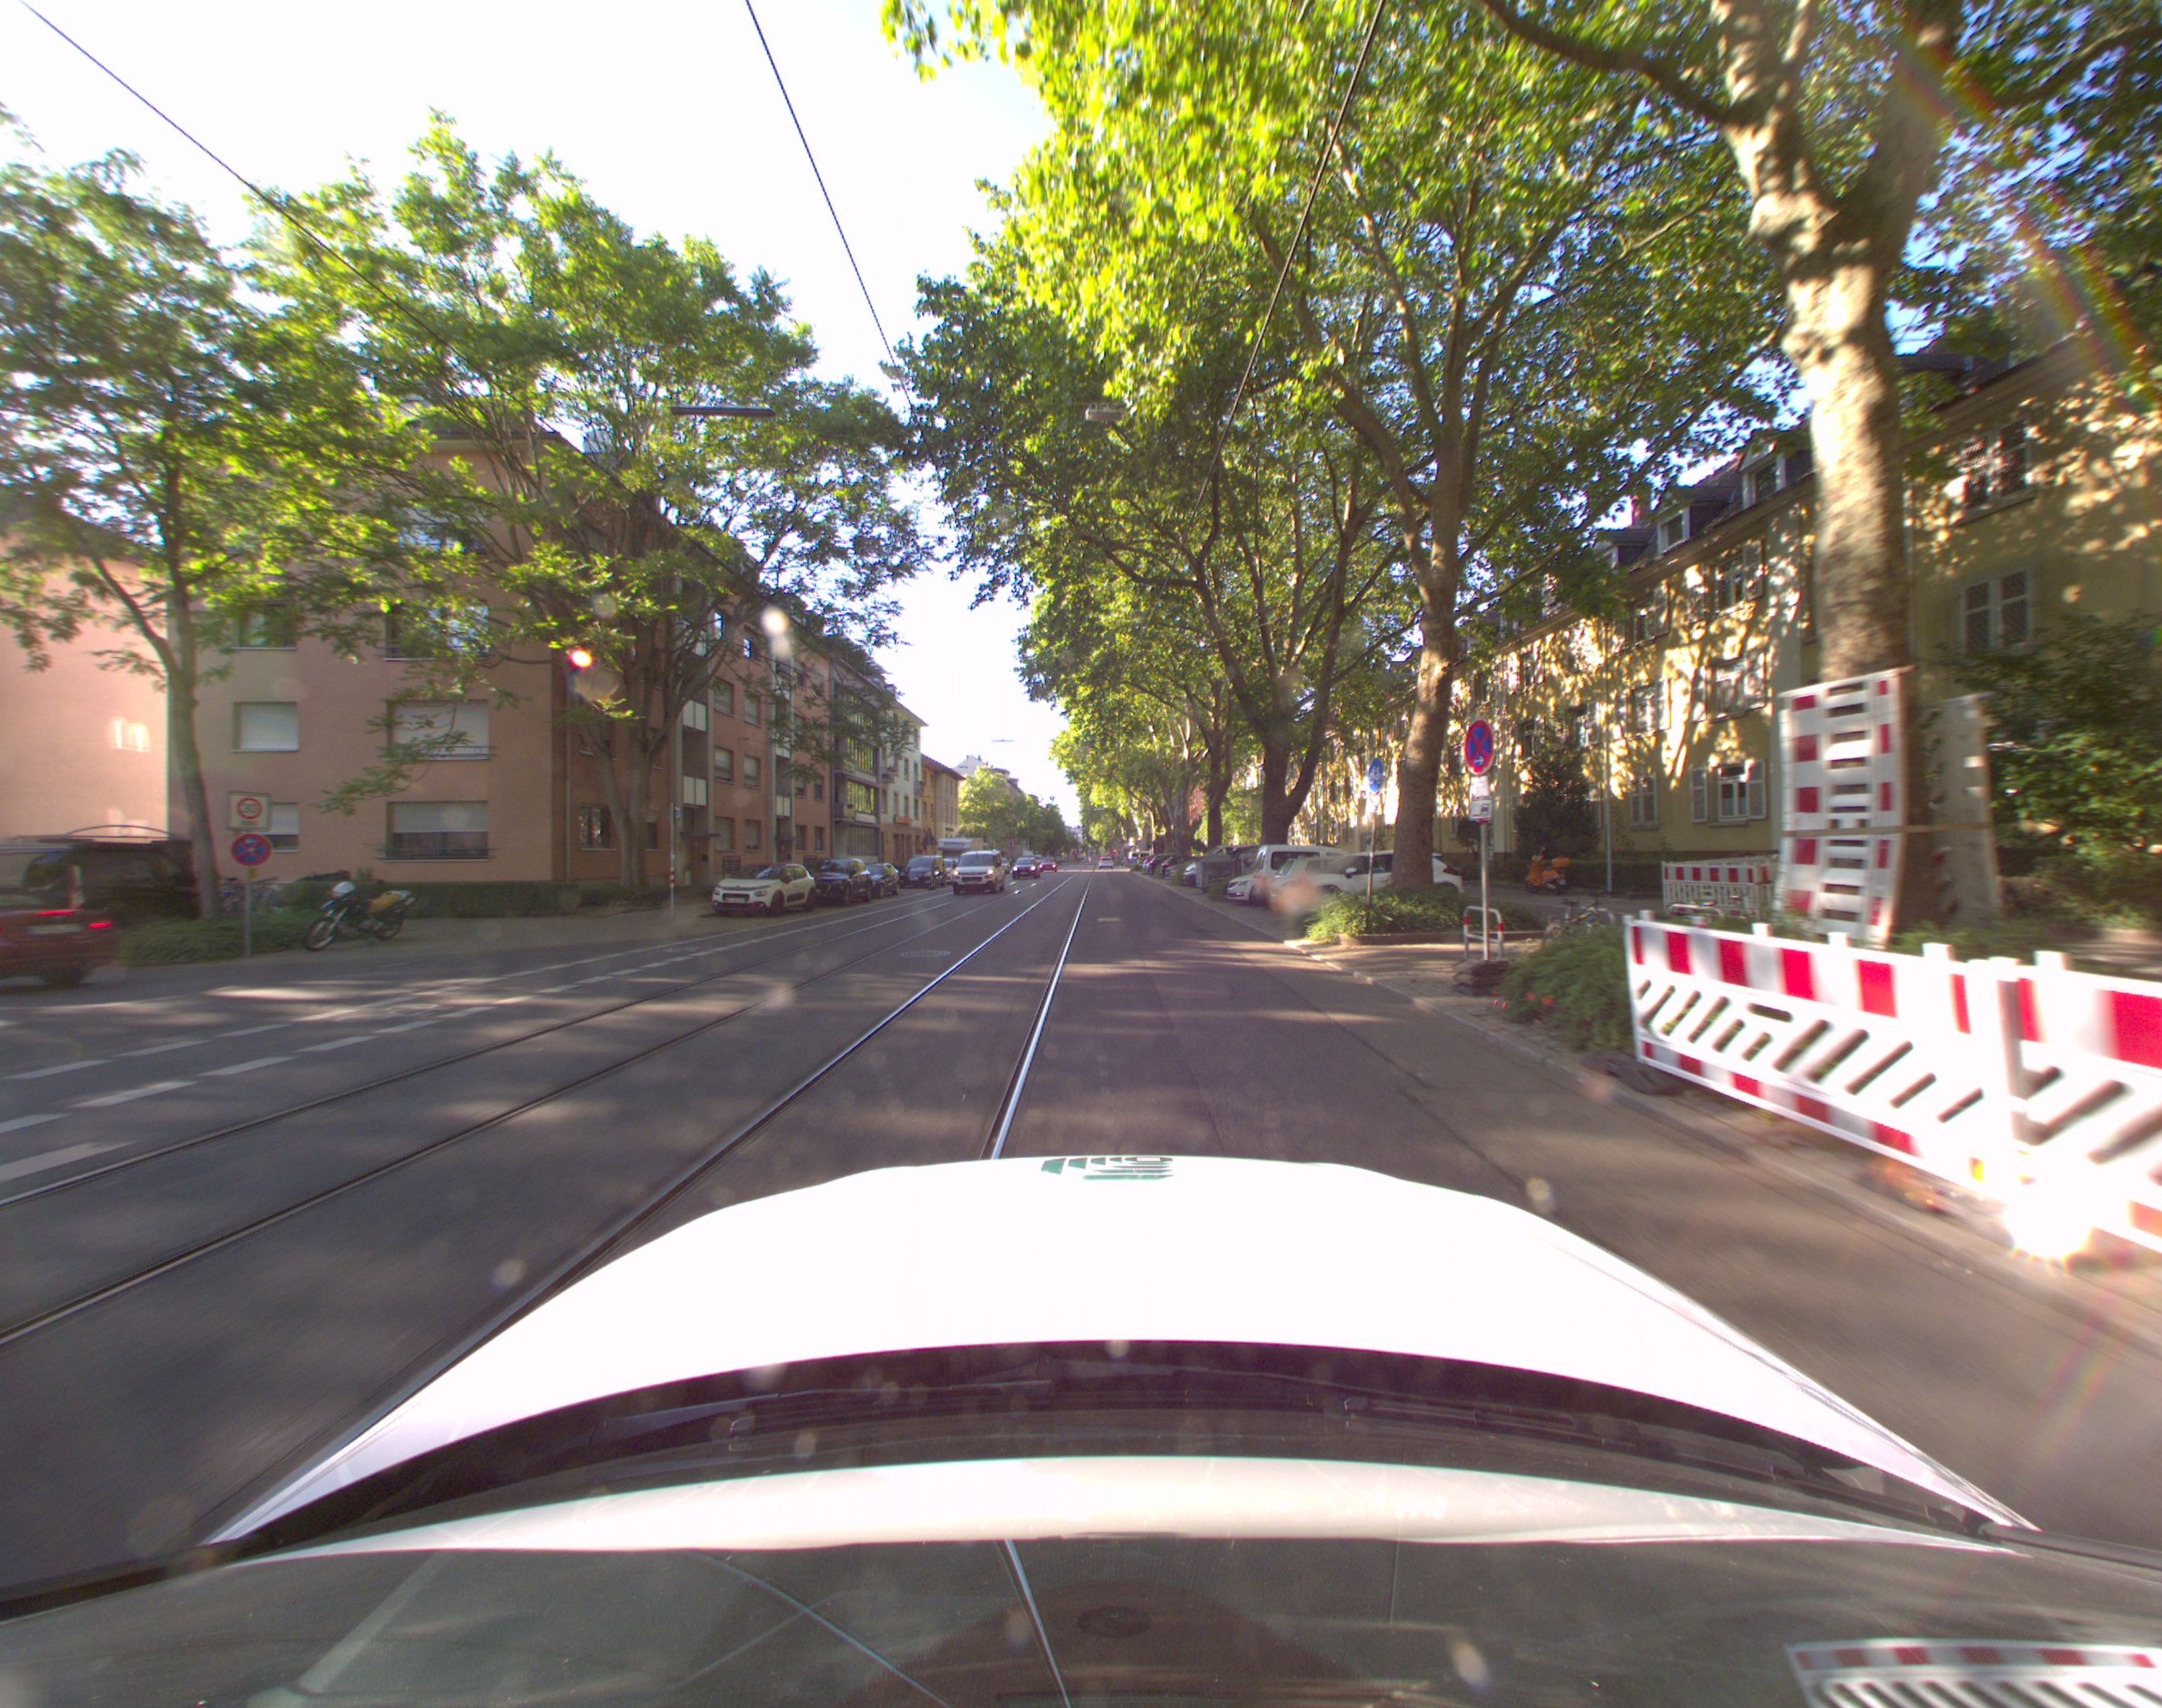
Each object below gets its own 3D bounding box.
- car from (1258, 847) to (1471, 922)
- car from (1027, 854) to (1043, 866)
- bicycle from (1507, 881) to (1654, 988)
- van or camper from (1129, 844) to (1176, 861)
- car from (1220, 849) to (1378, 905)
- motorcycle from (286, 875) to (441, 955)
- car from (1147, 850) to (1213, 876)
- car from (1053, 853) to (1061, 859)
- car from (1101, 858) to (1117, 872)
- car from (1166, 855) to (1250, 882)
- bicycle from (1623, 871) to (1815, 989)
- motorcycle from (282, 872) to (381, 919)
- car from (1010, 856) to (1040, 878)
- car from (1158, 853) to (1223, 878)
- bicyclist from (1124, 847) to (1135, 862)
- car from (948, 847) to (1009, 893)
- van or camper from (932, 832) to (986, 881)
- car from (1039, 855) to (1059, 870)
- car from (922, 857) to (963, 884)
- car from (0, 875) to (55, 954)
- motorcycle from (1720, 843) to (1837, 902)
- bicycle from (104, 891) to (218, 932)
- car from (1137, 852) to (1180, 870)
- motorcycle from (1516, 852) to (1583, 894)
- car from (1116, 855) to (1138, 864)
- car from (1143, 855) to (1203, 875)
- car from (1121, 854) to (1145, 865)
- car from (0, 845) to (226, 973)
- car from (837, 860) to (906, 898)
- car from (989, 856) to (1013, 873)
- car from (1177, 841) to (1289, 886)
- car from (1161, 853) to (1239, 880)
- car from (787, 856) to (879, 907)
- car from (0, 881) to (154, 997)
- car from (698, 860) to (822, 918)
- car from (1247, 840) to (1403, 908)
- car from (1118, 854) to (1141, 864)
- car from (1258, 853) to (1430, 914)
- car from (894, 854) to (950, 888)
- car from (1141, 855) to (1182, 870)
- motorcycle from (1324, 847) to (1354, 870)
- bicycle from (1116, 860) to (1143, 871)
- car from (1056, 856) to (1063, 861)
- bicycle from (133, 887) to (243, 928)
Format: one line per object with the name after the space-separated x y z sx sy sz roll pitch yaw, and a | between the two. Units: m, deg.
6.192 0.663 18.148 4.075 1.521 1.916 -1 -1 0 | car
-7.259 0.991 130.276 2.165 1.861 4.660 -1 0 1 | car
5.779 0.888 9.551 0.633 1.070 1.809 -1 0 1 | bicycle
8.874 -0.190 101.476 5.544 2.013 2.242 -1 2 -4 | van or camper
6.477 0.675 24.561 4.350 1.542 1.804 -1 1 5 | car
-13.851 1.130 15.844 0.899 1.280 2.348 -1 2 -1 | motorcycle
6.939 0.638 57.476 4.475 1.602 2.030 -3 0 5 | car
-6.234 0.578 208.803 1.913 1.419 3.719 -1 0 -1 | car
3.378 1.282 98.432 1.911 1.584 3.792 -2 0 1 | car
6.833 0.767 44.050 4.376 1.380 1.806 -1 -1 5 | car
7.175 0.797 9.308 0.688 1.154 1.949 -1 0 1 | bicycle
-19.995 1.079 21.784 0.692 1.129 2.067 -1 0 1 | motorcycle
-3.983 0.898 58.344 1.769 1.458 4.203 -2 0 1 | car
6.786 0.695 50.842 3.825 1.509 1.711 -1 0 0 | car
5.661 0.048 94.570 1.045 1.705 1.055 -1 0 -8 | bicyclist
-4.358 0.662 35.272 1.885 1.832 4.896 -1 0 1 | car
-8.262 0.151 55.816 2.328 3.041 6.400 2 0 2 | van or camper
-3.278 0.831 83.942 1.717 1.437 4.070 -2 0 1 | car
-8.371 0.969 49.474 1.704 1.488 3.862 2 0 0 | car
-21.784 1.202 15.298 1.758 1.518 3.584 -1 0 -27 | car
15.402 0.403 18.008 1.983 1.250 0.713 -1 0 0 | motorcycle
-22.511 1.382 19.977 0.638 0.871 1.870 -1 0 1 | bicycle
7.372 0.632 77.438 3.912 1.670 1.960 -1 0 -1 | car
13.813 0.543 24.098 0.712 1.153 2.264 -2 0 1 | motorcycle
8.114 0.997 143.852 3.972 1.521 2.001 -1 0 1 | car
6.965 0.796 61.954 4.282 1.439 1.947 -1 0 0 | car
8.896 0.884 138.272 3.972 1.784 2.000 -1 0 1 | car
-18.877 0.930 15.571 2.004 2.123 4.681 0 -1 -27 | car
-8.682 0.988 34.110 1.732 1.401 4.382 1 0 0 | car
-7.774 0.970 79.197 1.830 1.468 5.067 2 0 -1 | car
7.009 0.441 38.027 4.822 1.963 2.064 -1 0 -2 | car
6.816 0.704 46.933 4.232 1.483 1.898 -1 0 0 | car
-8.690 0.910 28.957 1.775 1.610 4.587 2 0 0 | car
-15.220 1.078 10.565 4.209 1.389 1.797 -1 -1 -1 | car
-9.114 0.940 23.530 1.799 1.478 4.092 1 0 2 | car
6.635 0.535 22.533 3.826 1.772 1.919 -1 0 5 | car
8.374 0.866 141.543 3.972 1.784 2.000 -1 0 1 | car
6.532 0.711 20.571 3.826 1.433 1.854 -1 0 5 | car
-8.403 0.847 43.580 1.946 1.686 5.070 1 0 0 | car
7.412 0.766 75.213 3.636 1.378 1.890 -1 0 1 | car
17.323 0.298 54.711 1.798 1.361 0.622 -4 0 -2 | motorcycle
5.588 1.328 94.563 2.946 1.105 1.049 -1 0 -9 | bicycle
-6.361 1.294 245.491 1.914 1.419 3.585 -3 -1 -4 | car
-21.857 1.284 19.987 0.606 0.871 1.870 -1 0 1 | bicycle
